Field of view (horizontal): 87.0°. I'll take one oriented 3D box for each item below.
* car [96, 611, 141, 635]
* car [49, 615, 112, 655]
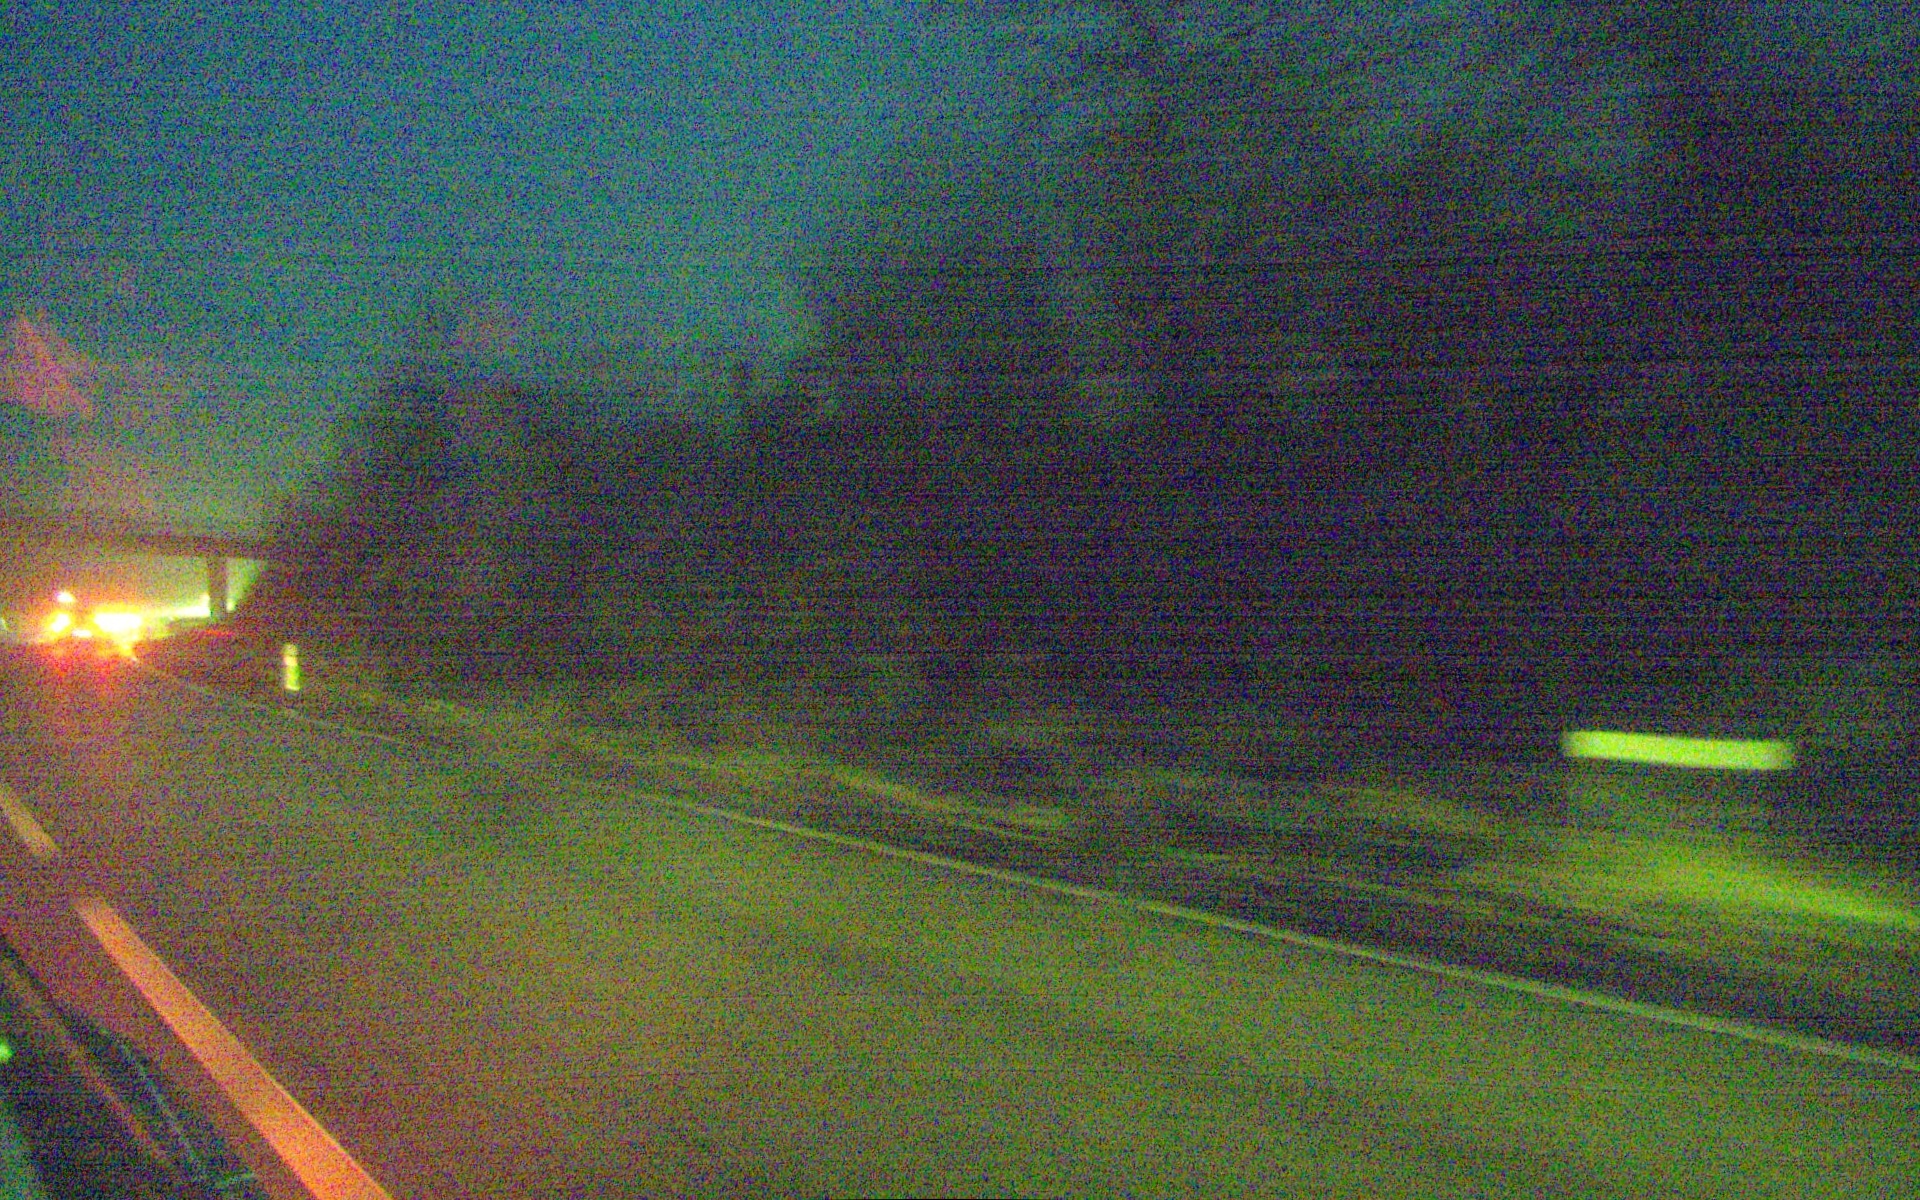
[{"bbox_3d":[-59.659,1.607,71.783,1.904,1.596,4.997,2,-2,-34],"label":"car"},{"bbox_3d":[-40.788,1.599,46.883,1.970,1.721,4.989,3,-2,-43],"label":"car"}]
